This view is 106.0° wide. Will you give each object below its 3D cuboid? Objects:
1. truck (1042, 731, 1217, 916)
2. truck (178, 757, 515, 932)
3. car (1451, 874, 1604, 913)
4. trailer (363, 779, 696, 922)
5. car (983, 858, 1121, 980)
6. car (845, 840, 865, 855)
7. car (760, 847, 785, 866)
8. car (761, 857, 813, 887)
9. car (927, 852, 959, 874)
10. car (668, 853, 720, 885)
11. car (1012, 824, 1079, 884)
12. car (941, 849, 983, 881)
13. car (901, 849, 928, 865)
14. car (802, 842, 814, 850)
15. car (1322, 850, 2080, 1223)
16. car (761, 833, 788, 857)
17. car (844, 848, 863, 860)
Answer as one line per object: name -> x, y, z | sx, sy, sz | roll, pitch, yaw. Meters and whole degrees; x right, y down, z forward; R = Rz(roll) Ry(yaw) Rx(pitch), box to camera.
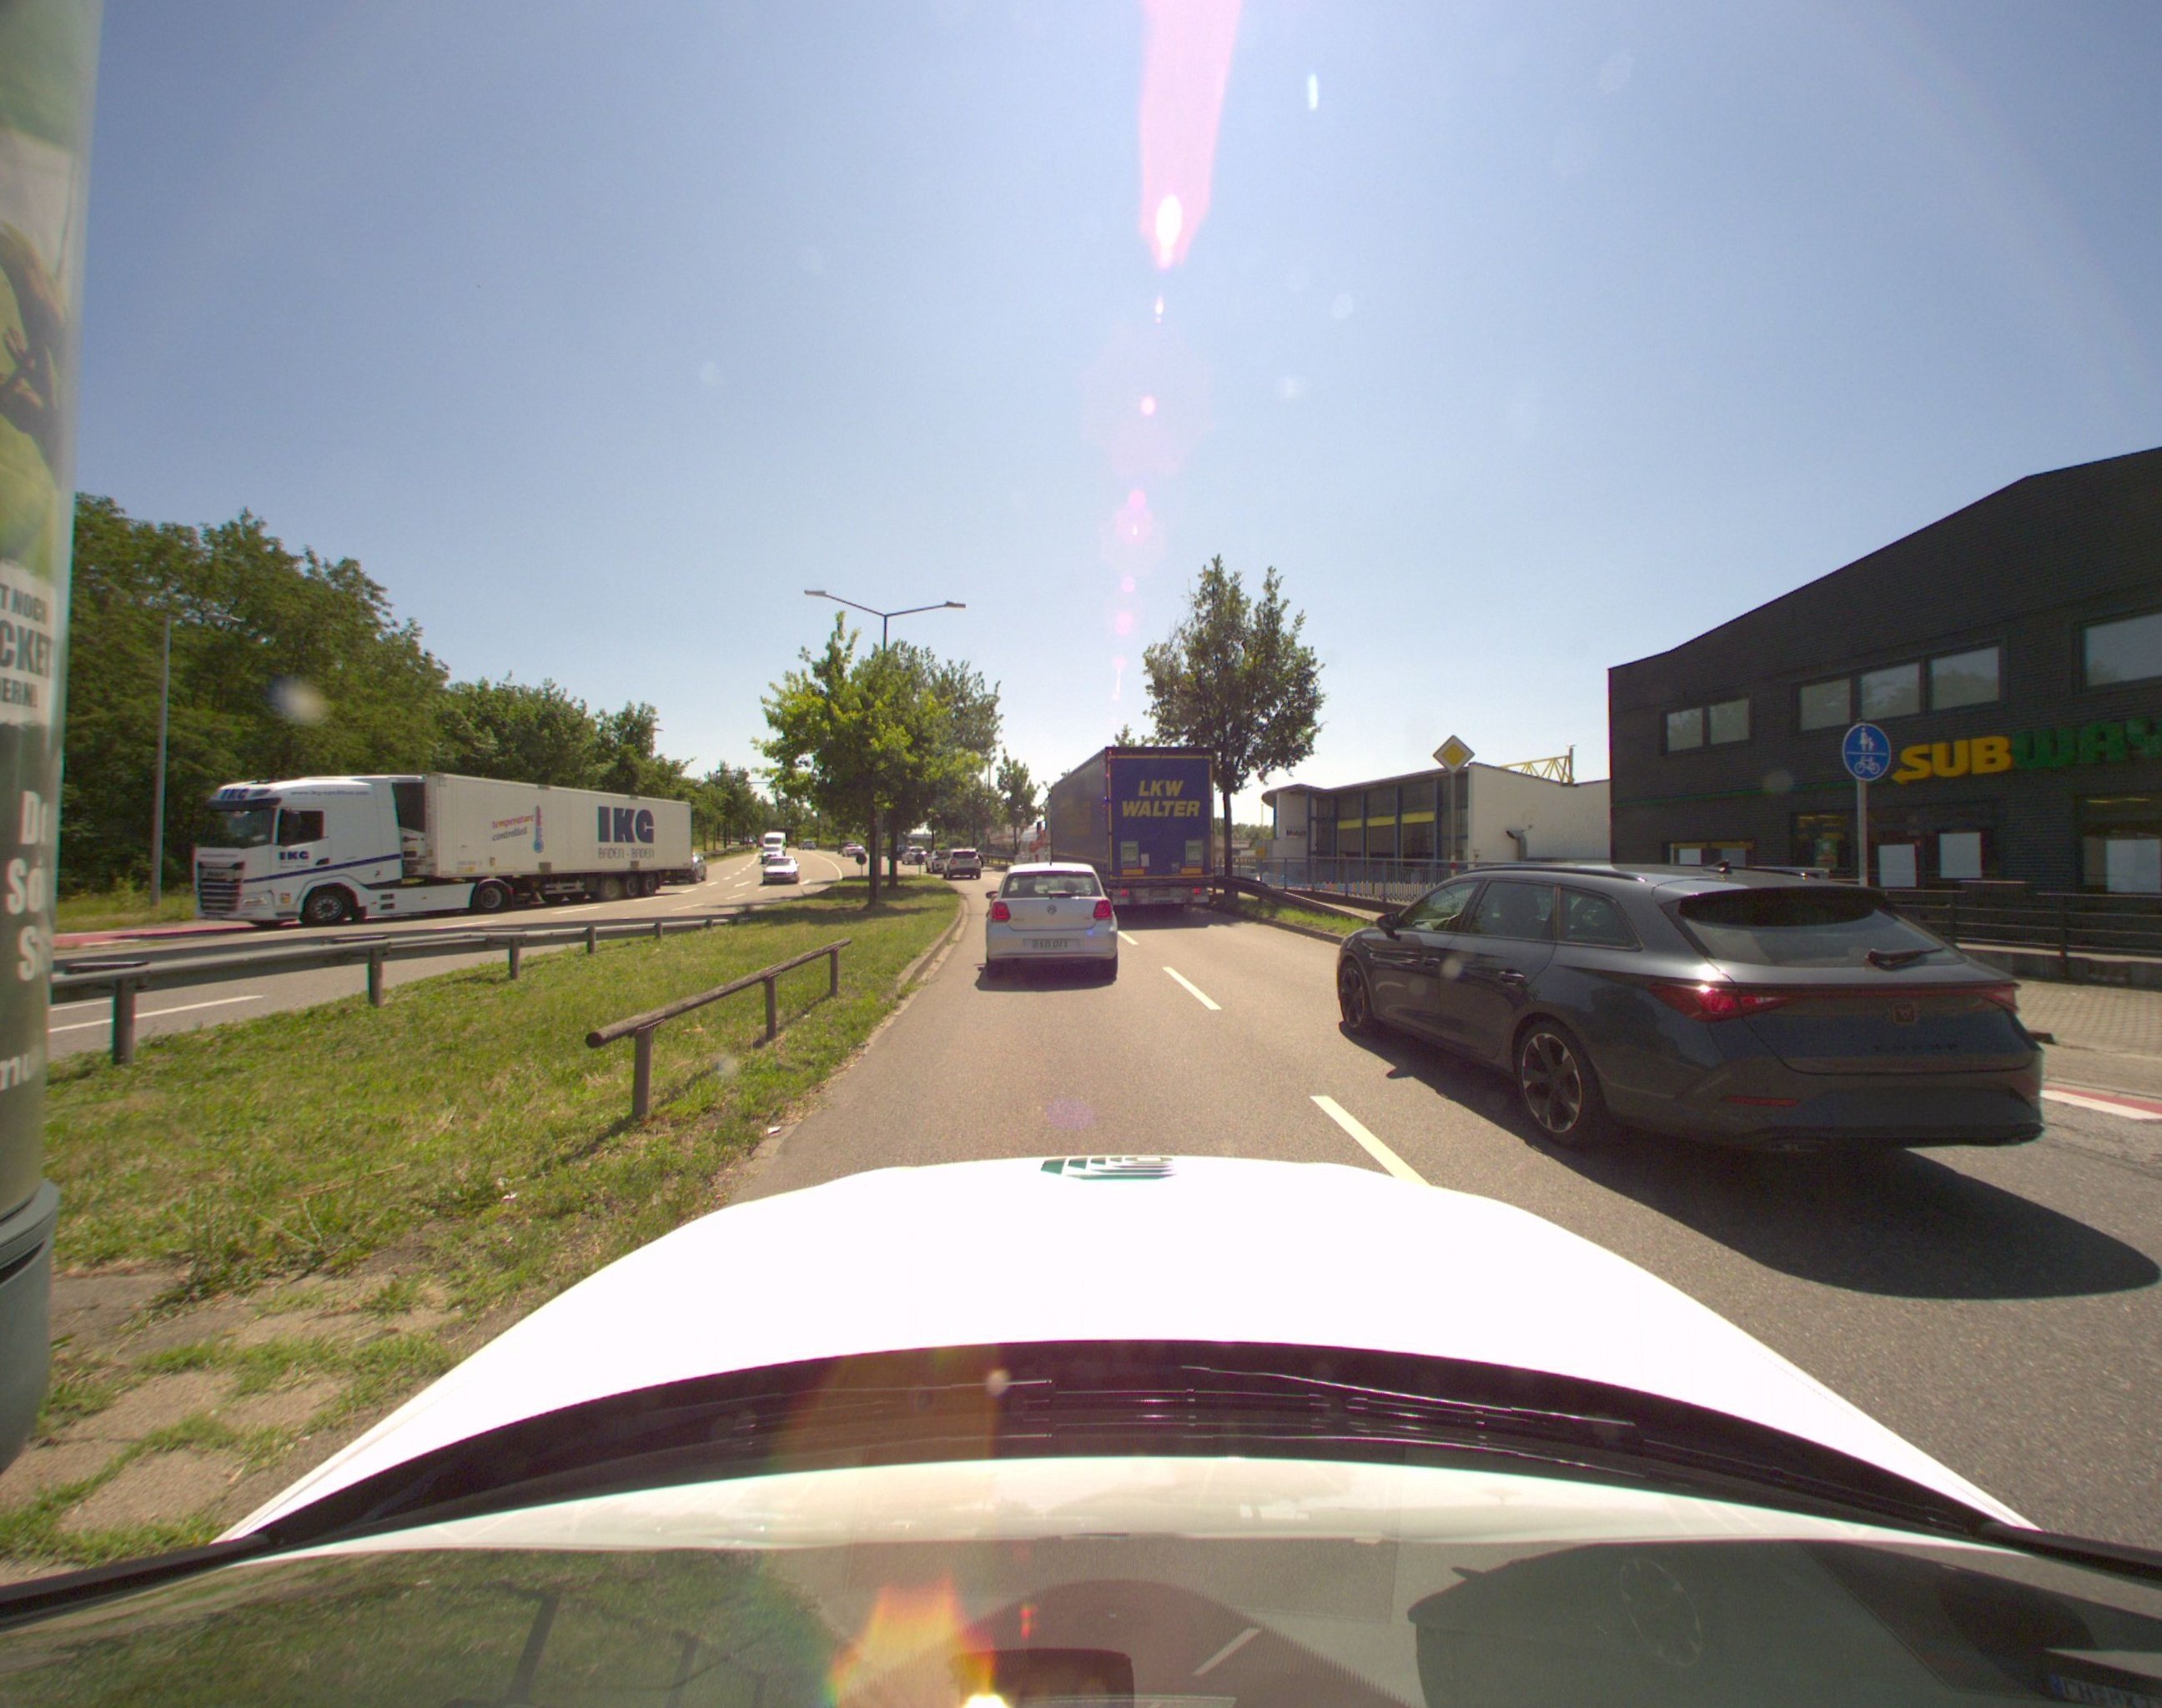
truck -> 0.743, -0.711, 26.816 | 2.830, 4.198, 16.433 | 0, 0, -7
truck -> -19.322, -0.188, 22.028 | 2.523, 4.022, 6.299 | -1, -1, 19
car -> 17.159, 1.467, 31.525 | 5.018, 1.358, 2.012 | -1, -1, 28
trailer -> -18.650, -0.206, 29.477 | 3.000, 4.049, 12.711 | 0, 1, 2
car -> -0.359, 0.789, 11.497 | 1.641, 1.439, 3.535 | 0, -1, -1
car -> -24.406, -0.696, 87.942 | 1.672, 1.465, 3.552 | 0, -1, -24
car -> -26.211, 0.211, 69.368 | 1.638, 1.567, 4.049 | -1, 0, -16
car -> -15.343, 0.915, 42.669 | 1.633, 1.403, 4.211 | -2, 0, -7
car -> -9.051, 0.571, 53.154 | 1.499, 1.360, 3.639 | 0, 0, -19
car -> -20.853, 0.811, 43.990 | 1.489, 1.633, 4.455 | 0, -1, -11
car -> -1.993, -0.072, 42.620 | 2.180, 2.900, 6.326 | 0, 1, -15
car -> -6.772, 0.611, 46.073 | 1.906, 1.718, 4.203 | 0, -1, -14
car -> -13.865, 0.236, 67.749 | 1.614, 1.360, 3.637 | 0, 0, -21
car -> -38.761, -1.150, 115.670 | 1.328, 1.139, 2.971 | 0, -1, -24
car -> 3.139, 0.735, 5.378 | 1.601, 1.456, 4.229 | 0, -1, -4
car -> -32.507, -0.990, 86.421 | 2.099, 2.500, 5.778 | -1, 1, -16
car -> -24.593, 0.021, 87.855 | 1.463, 1.314, 3.609 | 0, -1, -24
